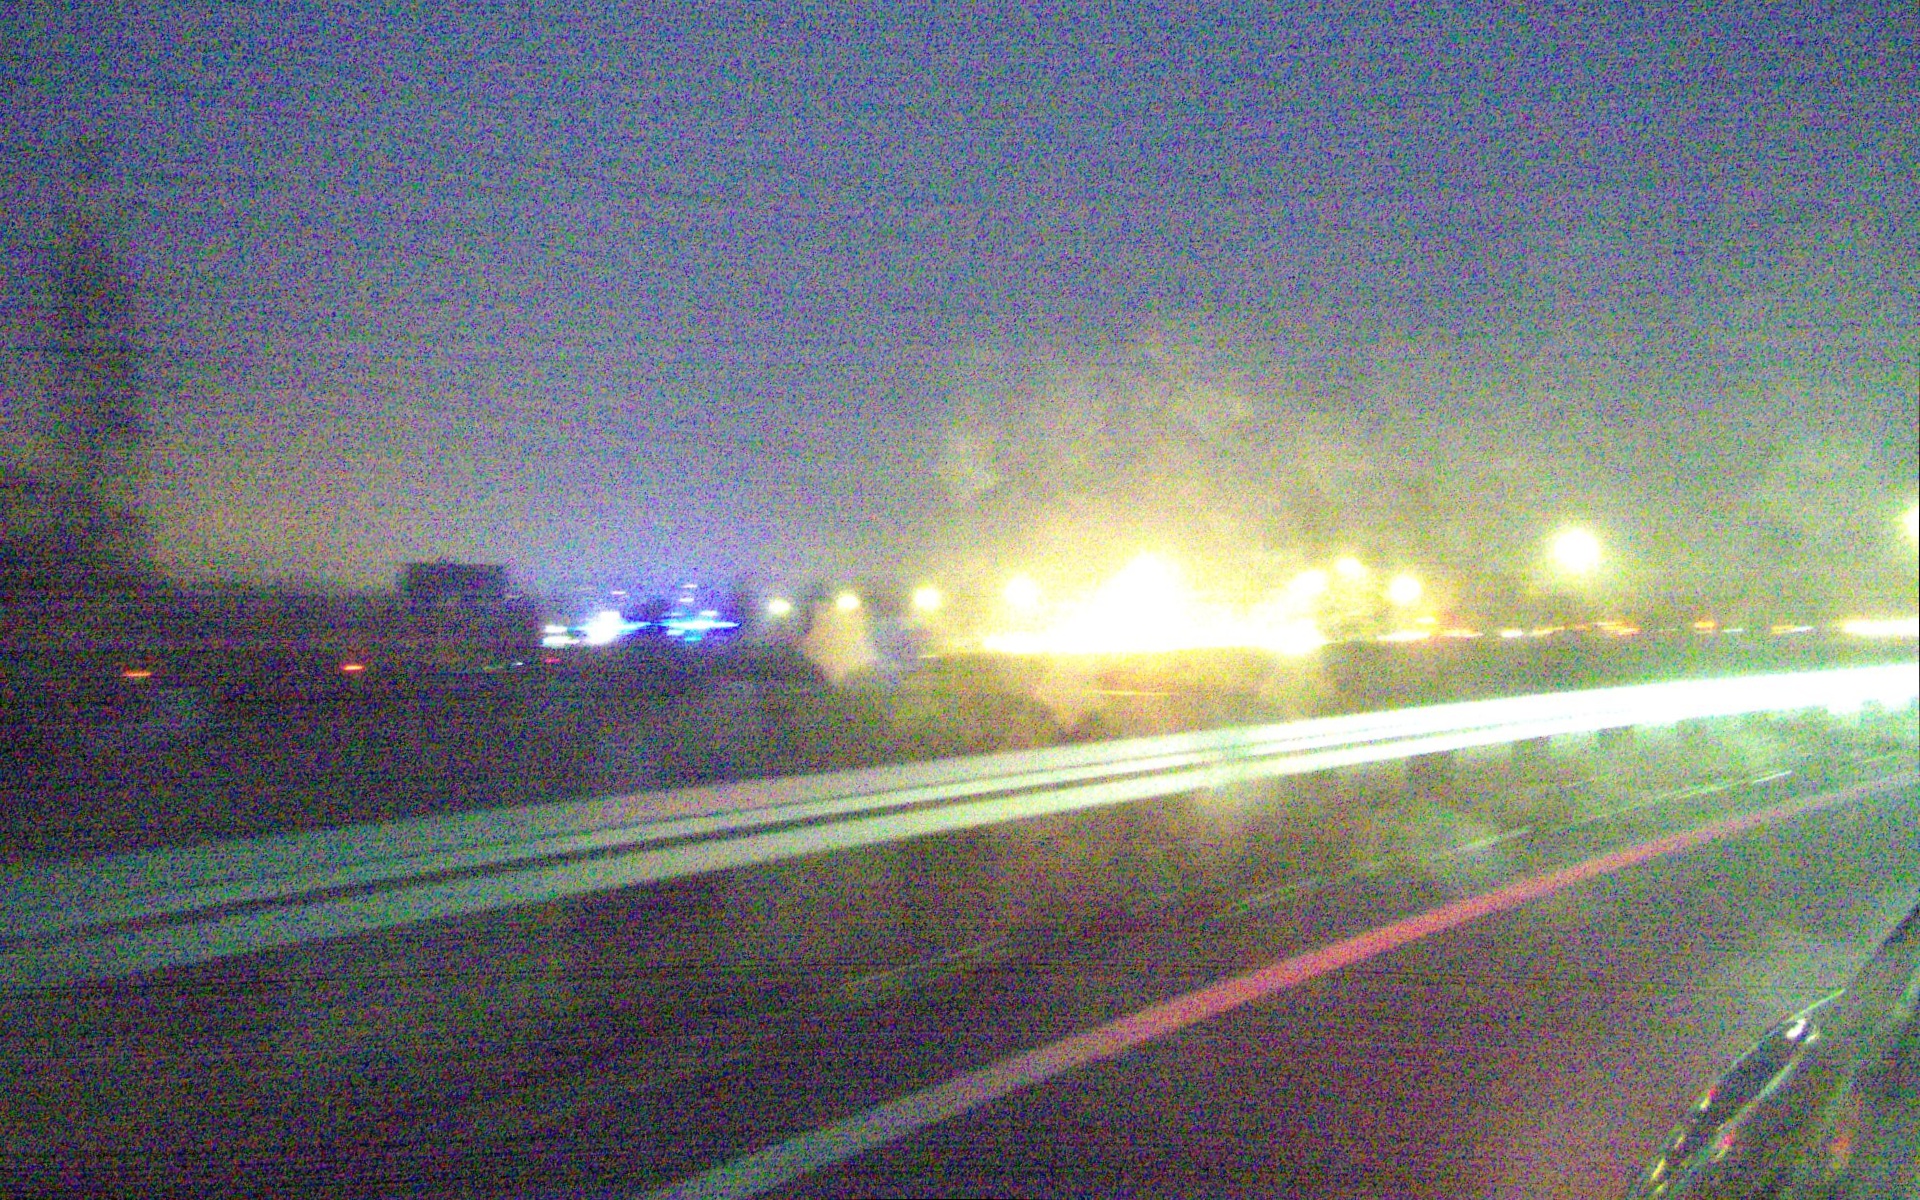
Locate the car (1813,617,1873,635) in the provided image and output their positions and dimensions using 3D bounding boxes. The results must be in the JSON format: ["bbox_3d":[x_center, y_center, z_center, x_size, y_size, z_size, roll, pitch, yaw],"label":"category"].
[{"bbox_3d":[82.029,2.437,94.012,1.688,1.460,3.992,3,-5,-41],"label":"car"}]

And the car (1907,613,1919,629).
[{"bbox_3d":[88.125,1.851,91.061,1.688,1.460,3.992,1,-3,-41],"label":"car"}]
